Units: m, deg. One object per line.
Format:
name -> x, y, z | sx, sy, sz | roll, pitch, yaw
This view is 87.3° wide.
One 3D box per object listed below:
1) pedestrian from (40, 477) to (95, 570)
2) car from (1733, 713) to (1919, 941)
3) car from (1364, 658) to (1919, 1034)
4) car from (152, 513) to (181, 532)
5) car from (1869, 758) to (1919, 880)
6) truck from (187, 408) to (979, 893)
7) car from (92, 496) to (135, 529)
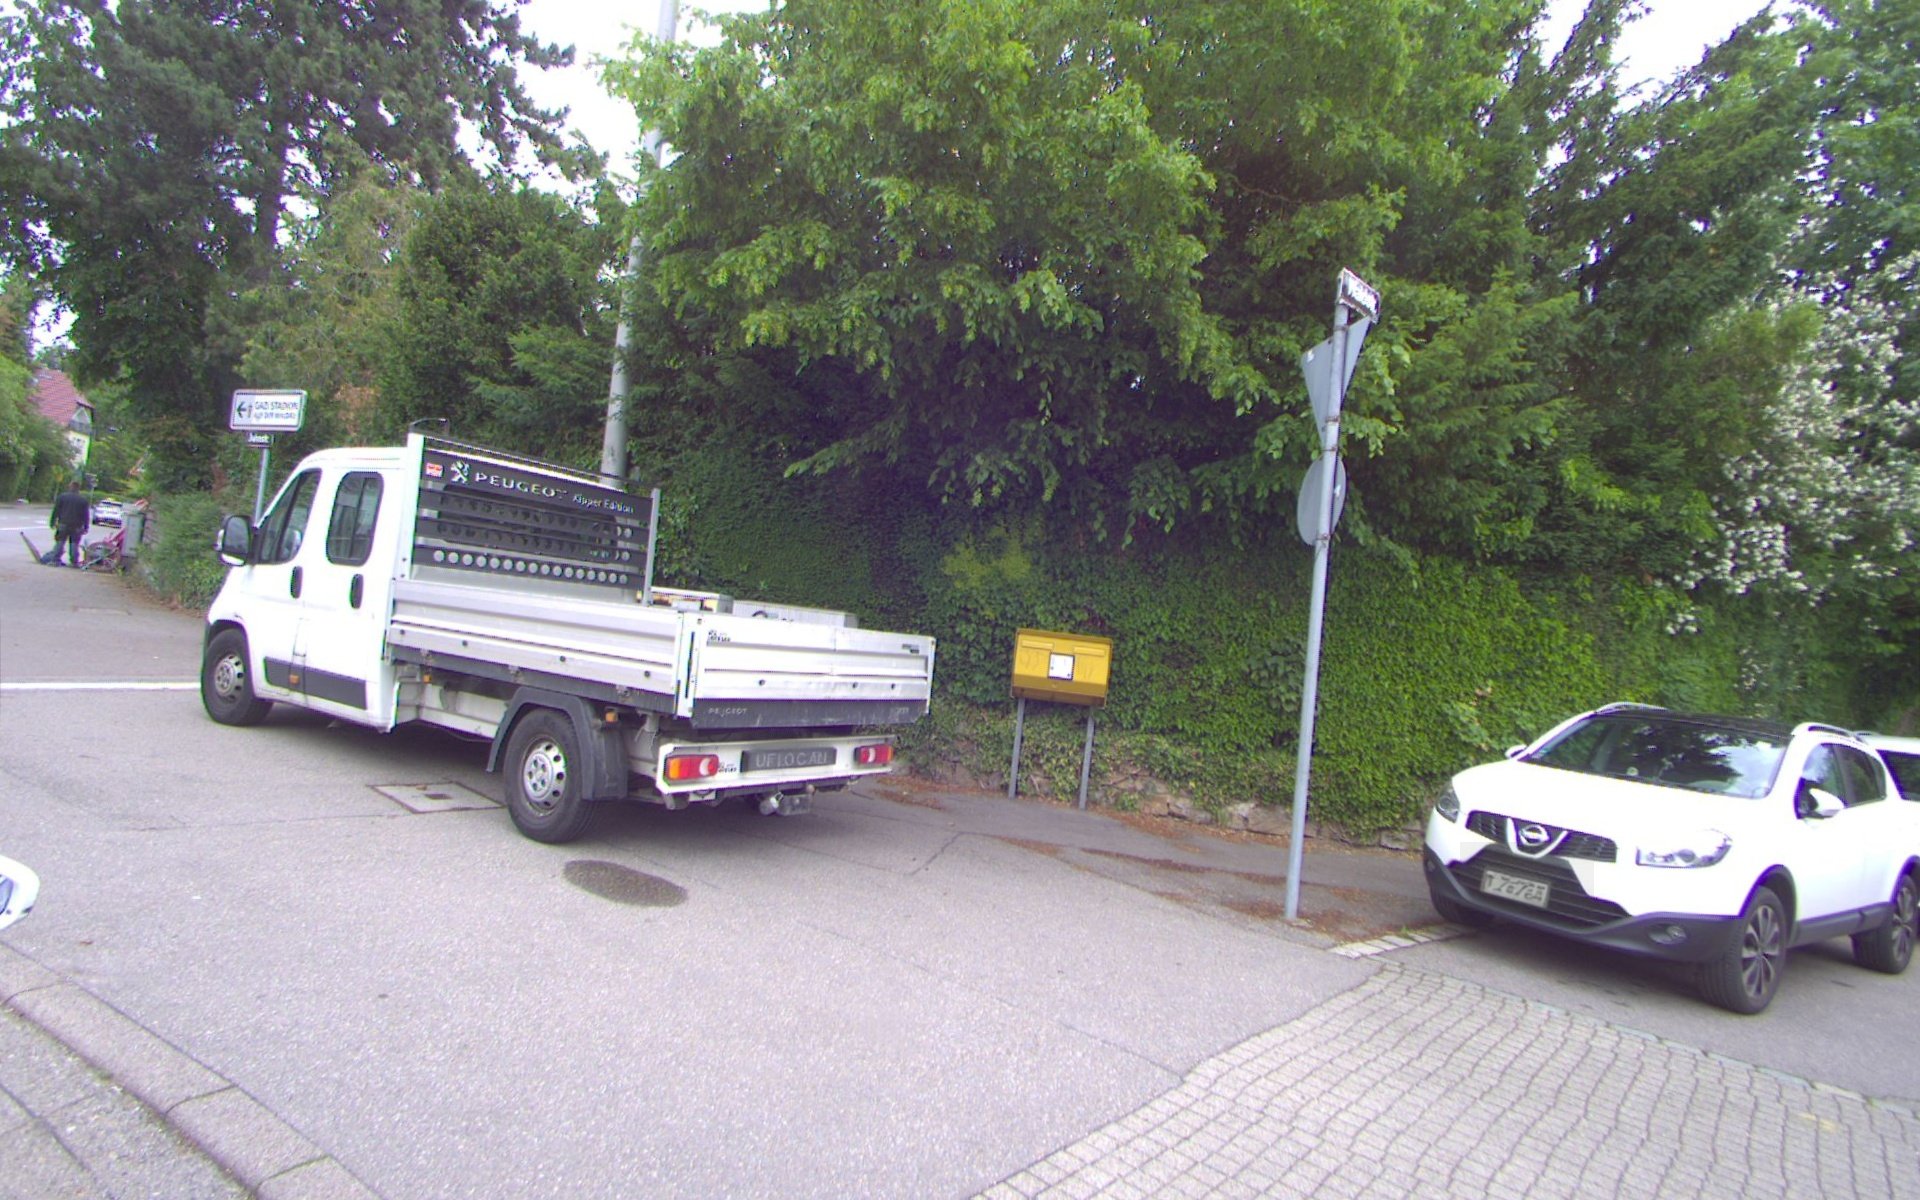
pedestrian -> -19.602, -1.673, 22.092 | 0.549, 1.929, 0.597 | 7, -1, 32
car -> 9.042, 2.116, 9.478 | 4.041, 1.641, 1.781 | 9, -3, -38
car -> 4.763, 1.470, 6.665 | 4.098, 1.641, 1.783 | 9, -2, -34
car -> -72.642, -7.052, 92.152 | 1.683, 1.448, 3.714 | 7, 0, -34
car -> 13.826, 3.021, 13.445 | 4.040, 1.440, 1.781 | 8, -2, -38
truck -> -2.937, 0.085, 7.170 | 5.631, 2.270, 2.211 | 6, -2, 34
car -> -54.665, -5.627, 65.025 | 1.798, 1.775, 4.441 | 7, 0, -37
